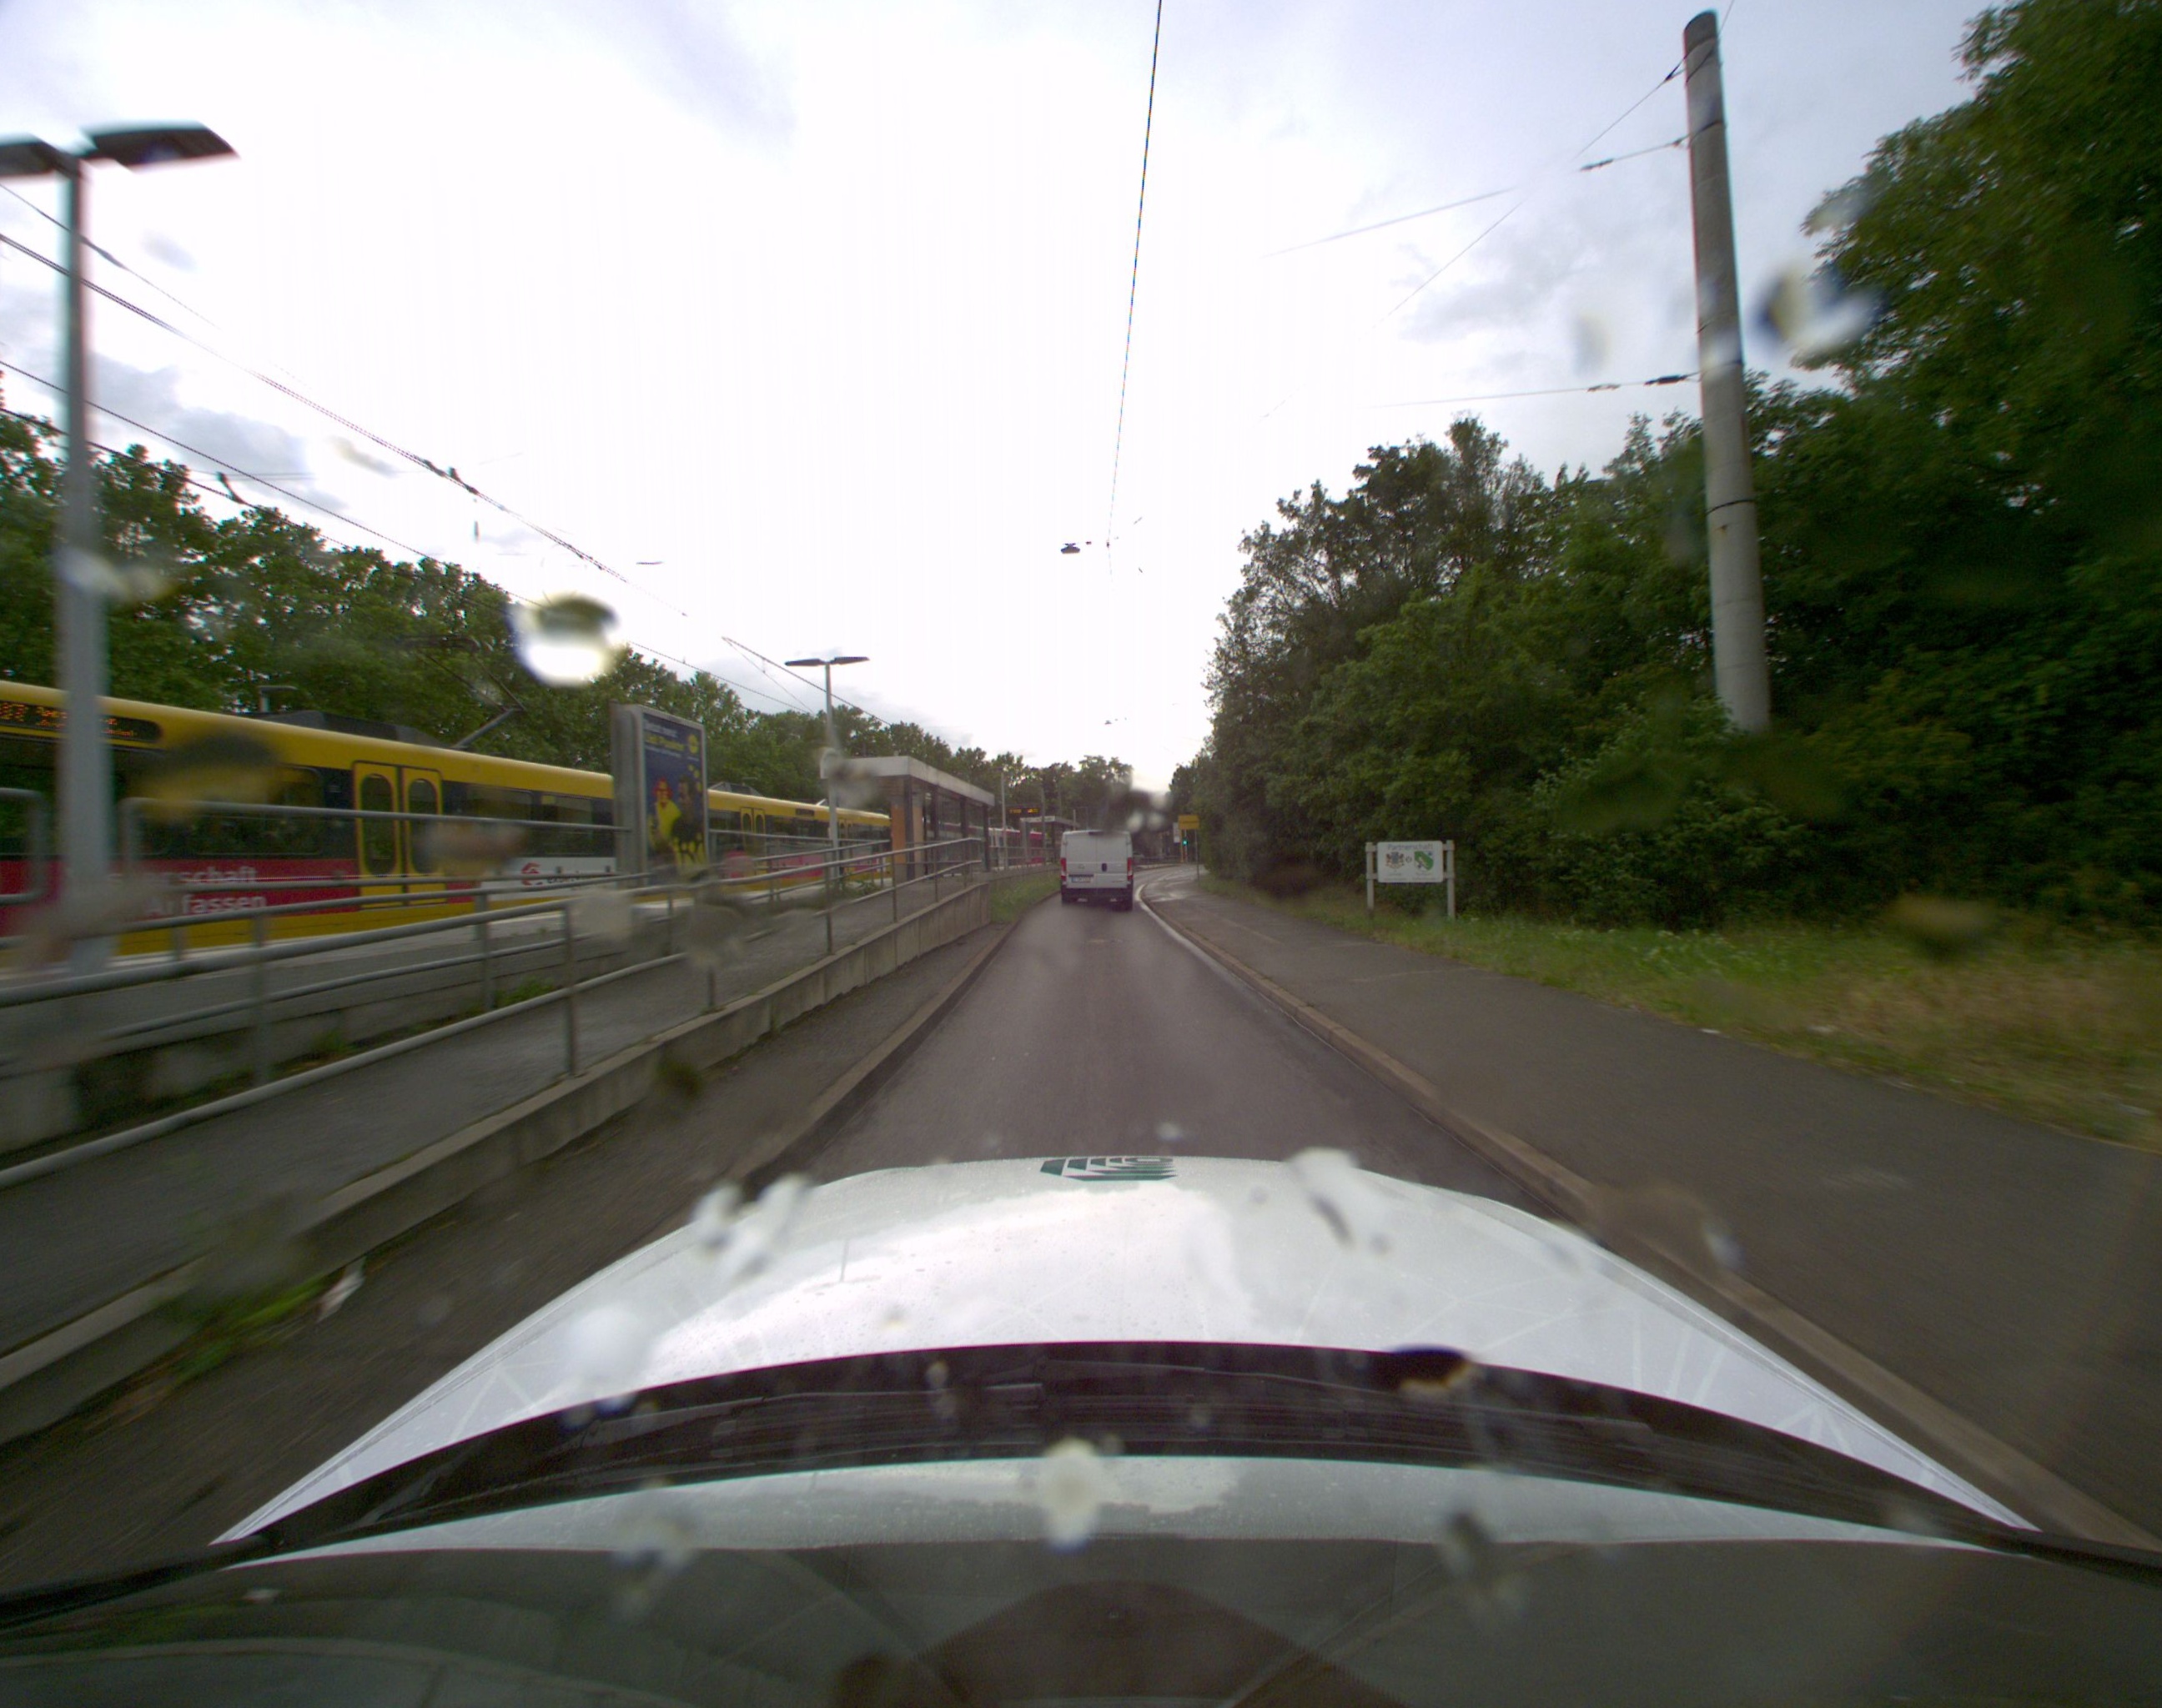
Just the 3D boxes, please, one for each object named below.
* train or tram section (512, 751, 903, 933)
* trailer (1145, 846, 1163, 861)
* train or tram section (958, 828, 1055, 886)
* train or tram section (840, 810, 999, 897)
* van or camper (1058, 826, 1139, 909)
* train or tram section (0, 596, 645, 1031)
[{"bbox_3d":[-10.245,-0.143,27.379,2.855,3.954,19.352,0,-1,4],"label":"train or tram section"},{"bbox_3d":[13.926,-0.018,155.755,1.997,2.725,4.101,-1,-1,-15],"label":"trailer"},{"bbox_3d":[-5.464,0.327,65.787,2.850,3.961,19.381,0,-1,10],"label":"train or tram section"},{"bbox_3d":[-8.337,0.102,46.636,2.852,3.971,19.369,0,-1,7],"label":"train or tram section"},{"bbox_3d":[0.550,0.391,24.500,2.191,2.253,4.685,0,-1,1],"label":"van or camper"},{"bbox_3d":[-11.294,-0.367,8.037,2.857,3.973,19.340,0,-1,2],"label":"train or tram section"}]
